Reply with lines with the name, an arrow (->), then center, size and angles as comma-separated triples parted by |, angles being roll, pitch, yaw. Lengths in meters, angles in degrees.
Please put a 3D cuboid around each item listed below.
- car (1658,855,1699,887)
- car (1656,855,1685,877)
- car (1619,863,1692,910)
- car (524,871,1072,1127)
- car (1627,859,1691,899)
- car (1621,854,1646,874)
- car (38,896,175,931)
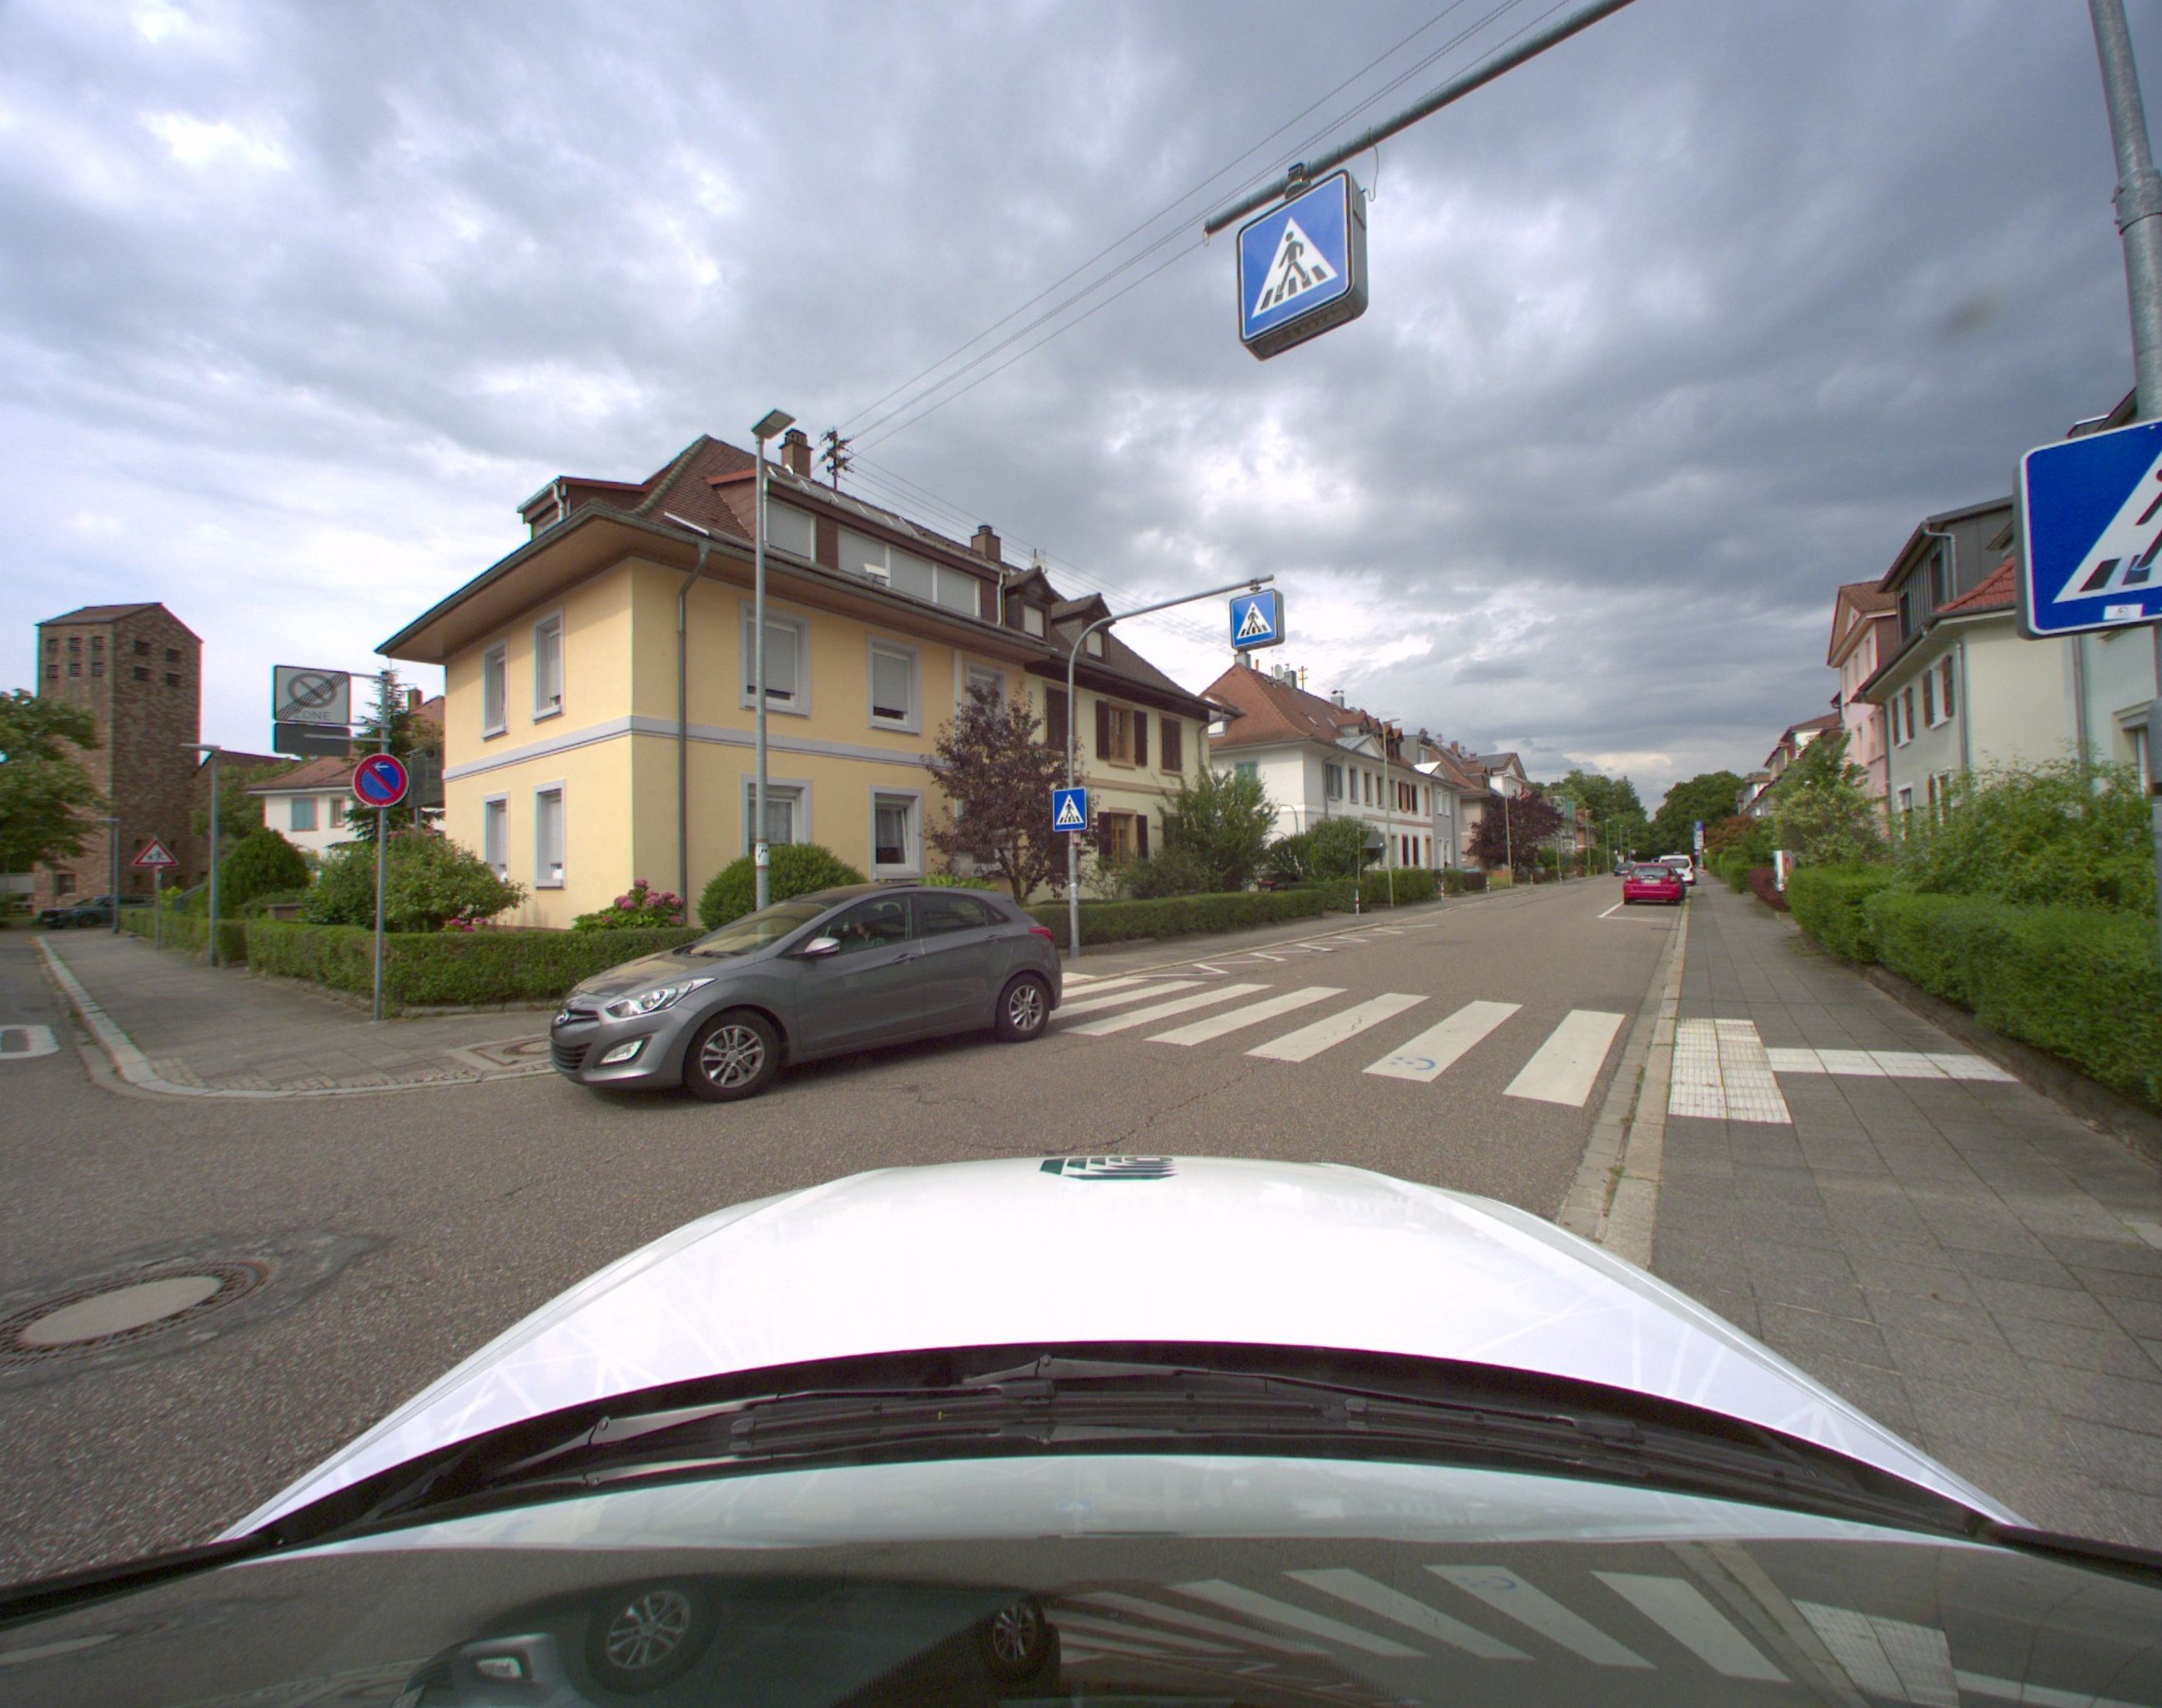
car -> 38.359, 1.087, 52.281 | 1.974, 1.904, 4.025 | -3, -2, 37
car -> 53.893, 1.103, 74.406 | 1.974, 1.833, 4.024 | -1, -3, 38
car -> 21.087, 1.158, 29.840 | 1.974, 1.574, 4.025 | -3, -2, 37
car -> -2.153, 0.931, 7.010 | 1.831, 1.481, 4.066 | -3, -2, 43
car -> 24.196, 1.014, 34.043 | 1.974, 1.574, 4.025 | -3, -2, 37
car -> 59.092, 1.056, 87.070 | 1.974, 2.014, 4.025 | -3, -2, 37
car -> -48.438, 2.908, 40.562 | 1.662, 1.464, 4.254 | -1, -1, 37
